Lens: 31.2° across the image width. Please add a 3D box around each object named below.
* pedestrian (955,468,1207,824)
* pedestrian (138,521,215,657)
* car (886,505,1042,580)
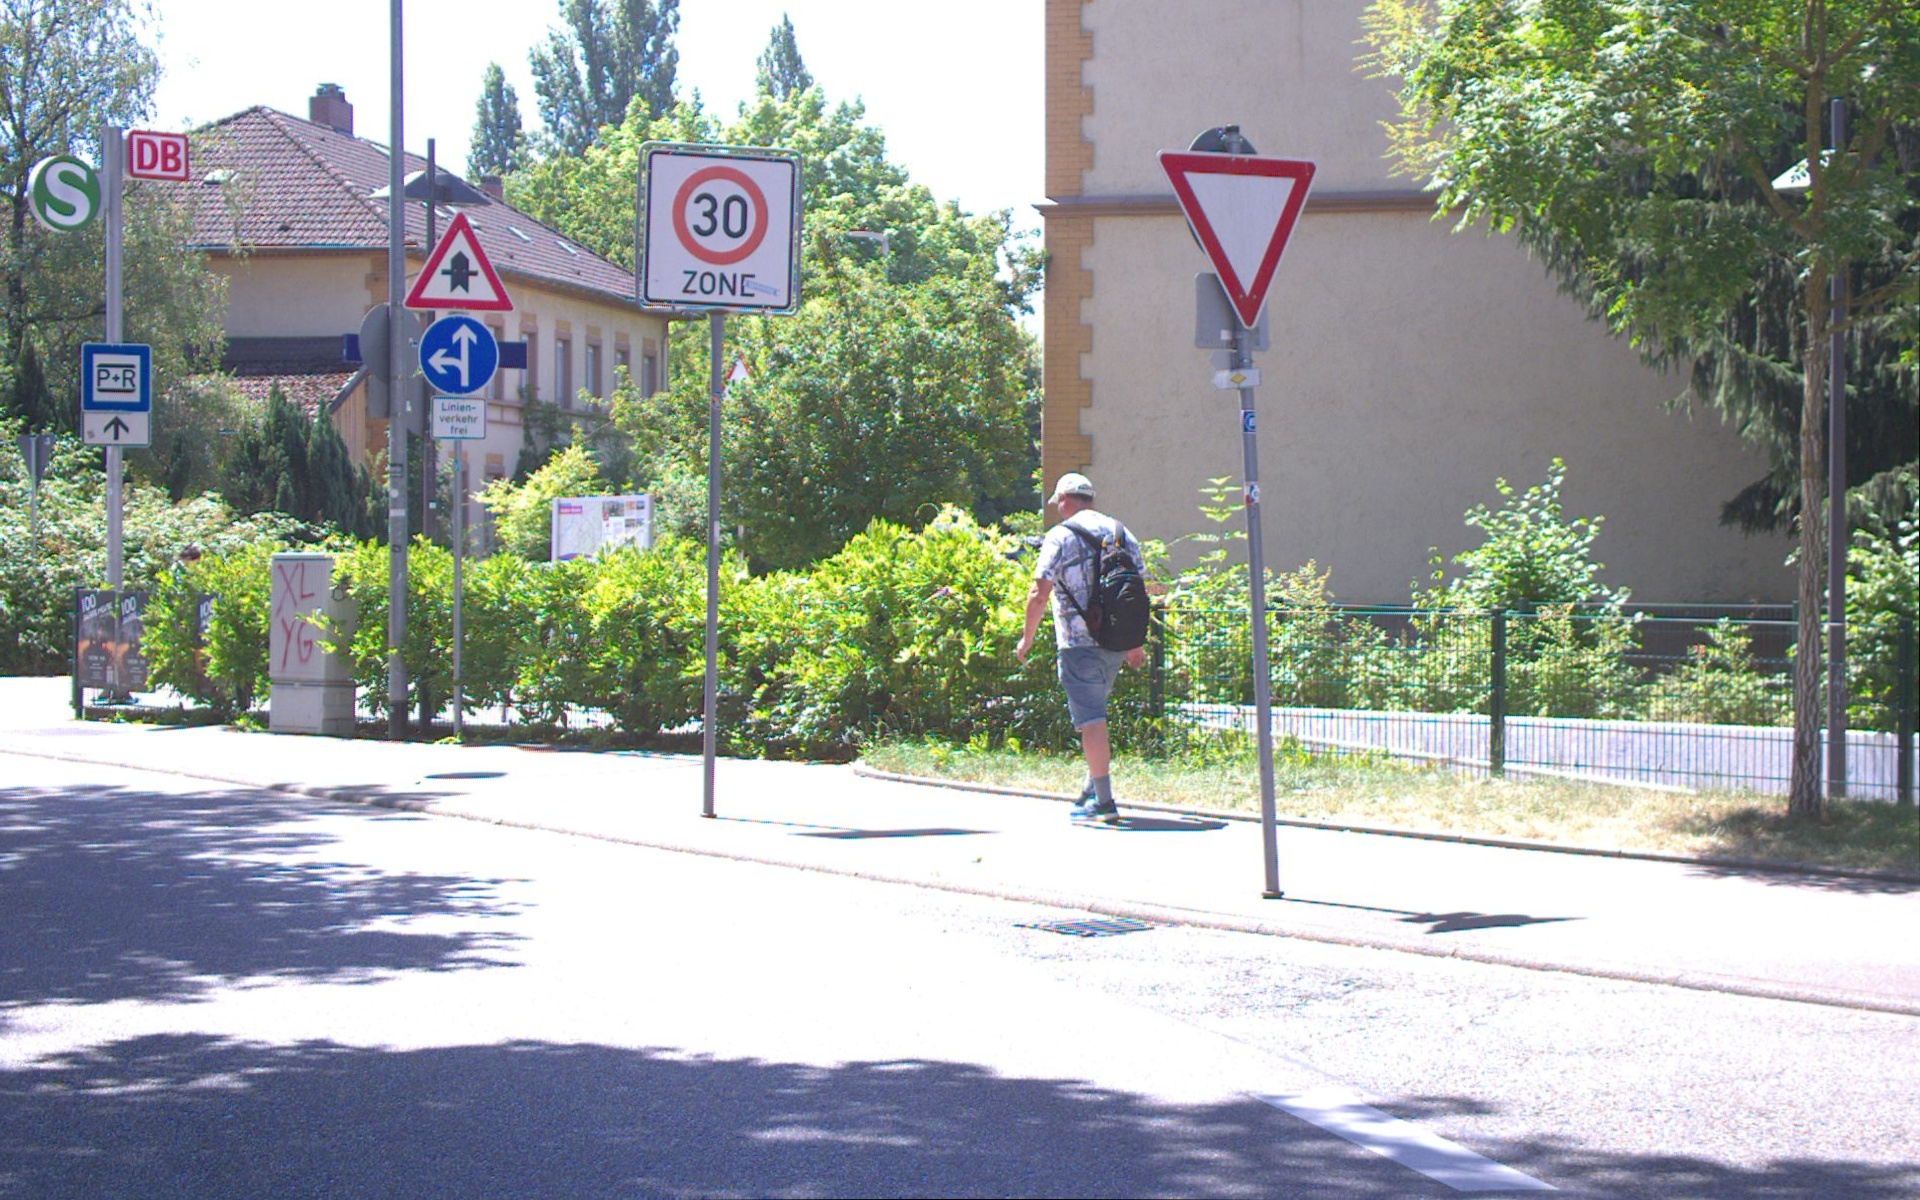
[{"bbox_3d":[0.628,0.218,18.016,0.912,1.765,0.915,-4,3,-27],"label":"pedestrian"},{"bbox_3d":[-9.507,-0.140,41.694,0.615,1.622,0.700,-1,3,-44],"label":"pedestrian"},{"bbox_3d":[0.142,-1.808,107.516,4.447,2.314,2.201,0,1,16],"label":"car"}]
